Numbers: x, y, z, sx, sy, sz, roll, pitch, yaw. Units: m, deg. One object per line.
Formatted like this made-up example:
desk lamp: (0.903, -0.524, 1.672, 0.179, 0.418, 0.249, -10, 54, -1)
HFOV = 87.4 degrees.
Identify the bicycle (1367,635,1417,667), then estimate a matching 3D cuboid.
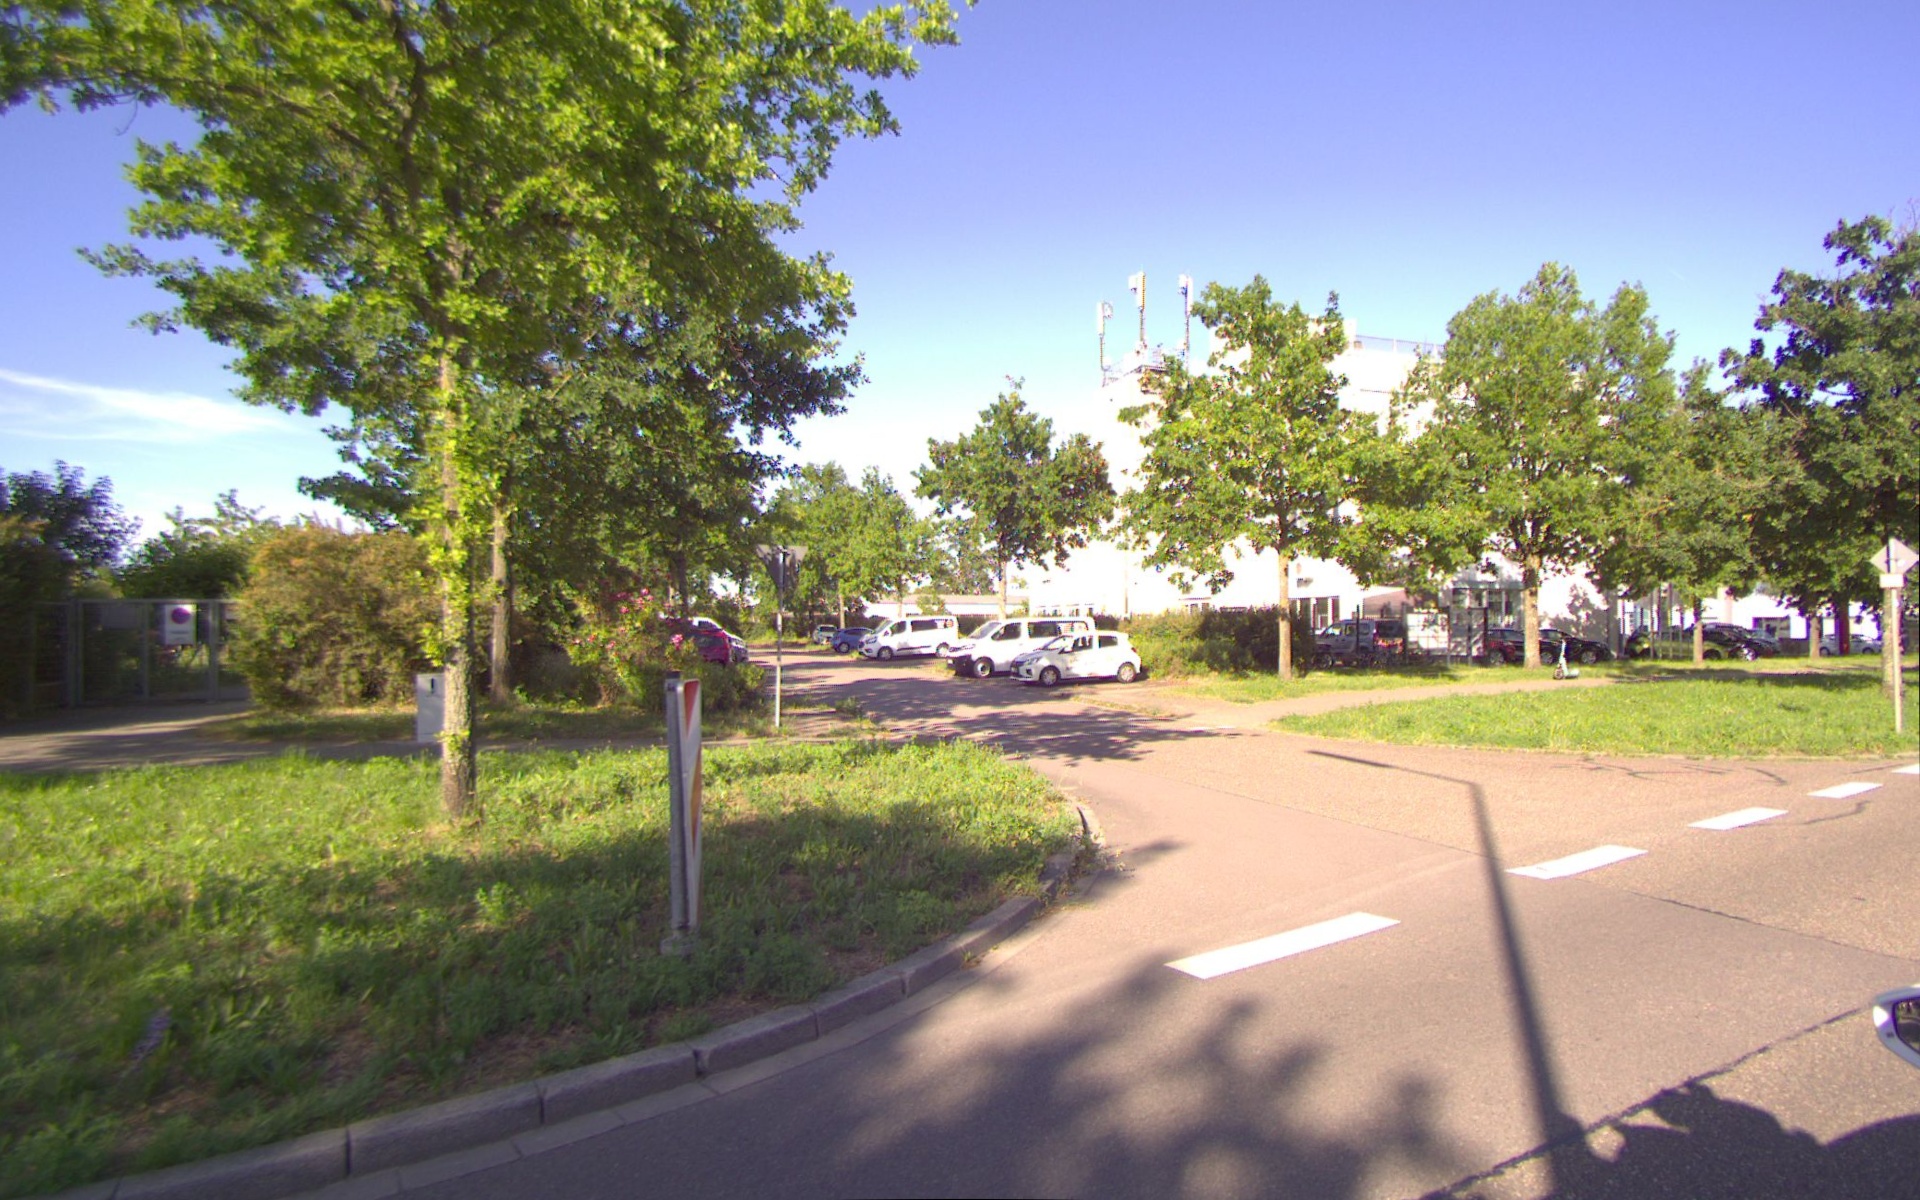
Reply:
bicycle: (15.245, 1.792, 35.426, 1.870, 1.102, 0.636, 1, -2, -32)

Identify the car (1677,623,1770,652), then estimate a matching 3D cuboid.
car: (53.125, 2.613, 70.018, 1.908, 1.931, 5.012, 0, -2, -14)

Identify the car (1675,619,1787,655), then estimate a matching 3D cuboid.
car: (44.813, 2.141, 58.508, 4.762, 2.040, 2.001, -1, -1, 18)

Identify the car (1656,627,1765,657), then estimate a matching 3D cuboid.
car: (38.898, 2.165, 52.177, 4.088, 1.510, 2.000, -1, -2, 21)

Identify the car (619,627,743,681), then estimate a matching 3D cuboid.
car: (-8.485, 1.632, 30.493, 3.497, 1.524, 1.798, 2, -2, -19)

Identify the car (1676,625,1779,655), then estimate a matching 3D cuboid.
car: (41.531, 2.150, 54.483, 4.094, 1.583, 1.997, -1, -2, 28)

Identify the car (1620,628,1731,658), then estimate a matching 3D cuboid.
car: (34.134, 2.037, 48.049, 3.875, 1.420, 2.001, -1, -2, 18)

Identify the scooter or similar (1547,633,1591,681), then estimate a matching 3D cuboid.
scooter or similar: (16.830, 1.557, 27.747, 1.424, 1.296, 0.393, 1, -1, -30)

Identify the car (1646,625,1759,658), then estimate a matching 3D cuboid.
car: (36.761, 2.044, 49.835, 4.087, 1.558, 1.897, -1, -2, 18)

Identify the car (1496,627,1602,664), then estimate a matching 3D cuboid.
car: (25.883, 1.987, 44.241, 3.929, 1.531, 1.797, -1, -1, 31)

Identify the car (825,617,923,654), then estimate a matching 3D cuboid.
car: (-5.203, 2.097, 60.609, 5.434, 1.954, 2.360, -2, -1, -20)

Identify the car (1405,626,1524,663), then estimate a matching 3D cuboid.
car: (20.324, 1.781, 40.618, 3.919, 1.467, 1.802, 0, -2, 12)

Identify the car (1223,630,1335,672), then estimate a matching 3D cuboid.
car: (12.002, 1.881, 37.817, 3.949, 1.467, 1.788, 1, -2, -28)

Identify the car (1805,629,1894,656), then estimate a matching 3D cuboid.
car: (55.267, 2.630, 62.490, 1.931, 1.639, 3.743, 0, -2, -16)

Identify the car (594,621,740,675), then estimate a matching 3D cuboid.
car: (-10.234, 1.651, 35.371, 4.801, 1.808, 1.994, 0, -1, -15)

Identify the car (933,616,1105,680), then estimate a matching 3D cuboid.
car: (1.988, 1.592, 34.180, 5.357, 1.841, 2.298, -2, -1, -20)

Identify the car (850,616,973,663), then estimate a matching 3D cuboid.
car: (-2.349, 1.878, 48.558, 5.434, 1.954, 2.360, -2, -1, -20)

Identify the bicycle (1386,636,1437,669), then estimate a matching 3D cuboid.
bicycle: (15.481, 1.782, 34.409, 1.870, 1.102, 0.636, 1, -2, -32)

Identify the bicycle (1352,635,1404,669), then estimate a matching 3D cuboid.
bicycle: (14.139, 1.749, 33.953, 1.870, 1.102, 0.636, 1, -2, -32)

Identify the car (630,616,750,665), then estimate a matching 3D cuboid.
car: (-11.443, 1.703, 42.794, 4.801, 2.040, 1.994, 0, -1, -15)

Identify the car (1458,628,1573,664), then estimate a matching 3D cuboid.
car: (23.414, 1.939, 42.465, 3.920, 1.467, 1.802, -1, -2, 17)

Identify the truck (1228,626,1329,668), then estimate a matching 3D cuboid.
truck: (13.963, 2.012, 44.317, 2.054, 1.646, 4.614, 0, 0, -16)

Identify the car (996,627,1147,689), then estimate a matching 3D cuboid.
car: (3.220, 1.645, 29.257, 3.856, 1.524, 1.992, -2, -1, -19)

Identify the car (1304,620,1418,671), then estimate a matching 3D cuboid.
car: (15.588, 1.710, 39.248, 1.994, 1.807, 4.012, 0, 0, -19)

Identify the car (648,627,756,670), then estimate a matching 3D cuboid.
car: (-10.310, 1.915, 40.128, 3.946, 1.634, 1.989, 1, -2, -24)
